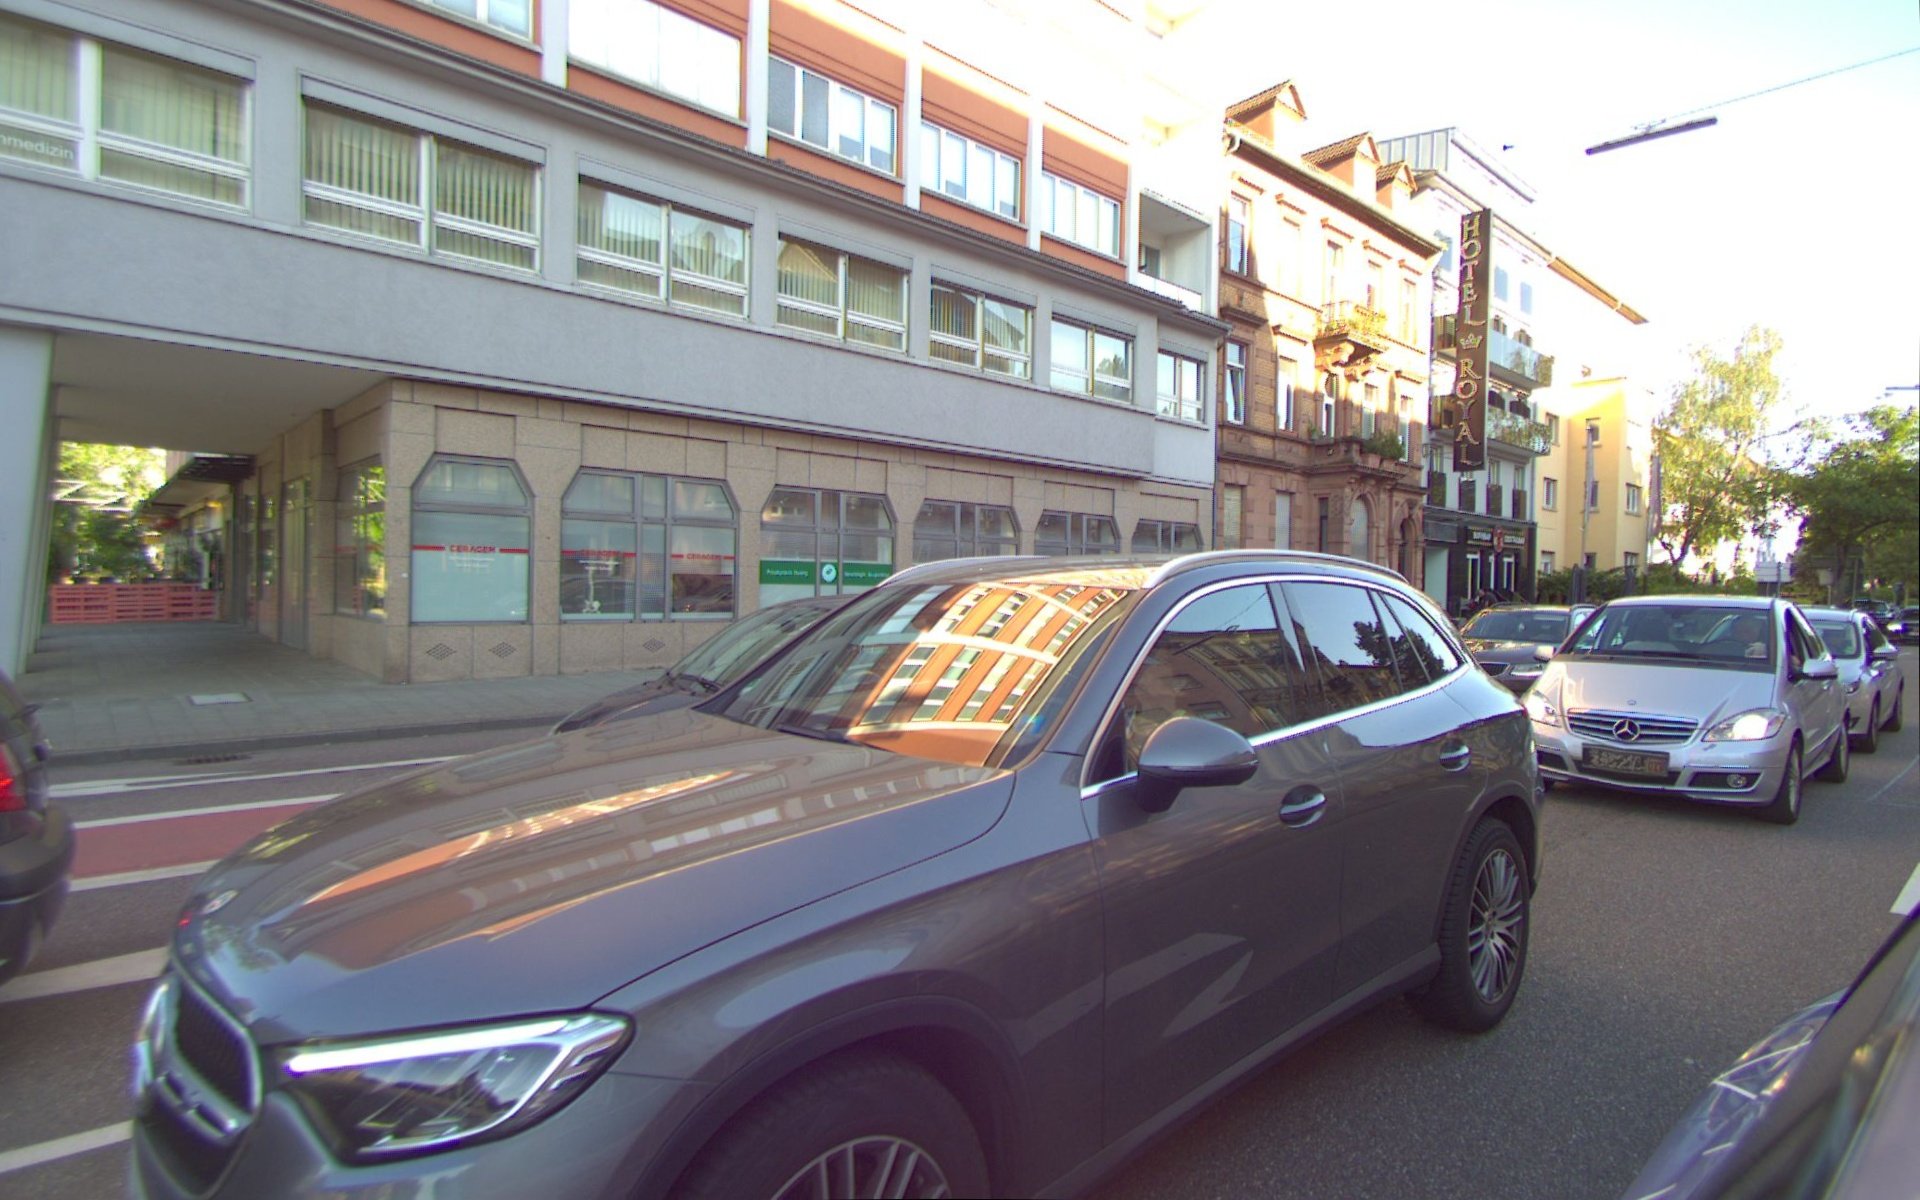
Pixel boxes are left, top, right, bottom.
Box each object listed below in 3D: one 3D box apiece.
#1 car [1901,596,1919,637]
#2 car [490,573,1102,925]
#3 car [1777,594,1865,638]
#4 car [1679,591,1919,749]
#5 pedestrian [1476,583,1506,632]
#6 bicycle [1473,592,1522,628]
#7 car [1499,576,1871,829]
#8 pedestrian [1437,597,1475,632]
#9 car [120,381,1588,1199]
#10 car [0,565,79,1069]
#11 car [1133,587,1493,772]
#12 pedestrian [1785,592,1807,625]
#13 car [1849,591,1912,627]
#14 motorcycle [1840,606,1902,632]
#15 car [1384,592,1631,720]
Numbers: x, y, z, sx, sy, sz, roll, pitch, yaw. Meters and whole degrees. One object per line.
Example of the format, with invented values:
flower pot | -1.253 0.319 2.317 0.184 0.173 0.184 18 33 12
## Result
car | 38.323 0.660 39.581 3.933 1.553 1.996 0 1 -44
car | -0.810 0.637 6.145 3.420 1.524 1.491 0 1 -43
car | 33.912 0.589 39.808 4.749 1.531 1.860 0 3 -41
car | 10.040 0.681 11.900 4.235 1.529 1.710 0 0 -42
pedestrian | 18.422 0.240 35.091 0.681 1.664 0.708 1 1 -42
bicycle | 18.647 0.341 35.122 1.415 1.124 0.483 5 2 31
car | 6.074 0.643 8.341 3.557 1.588 1.806 0 1 -43
pedestrian | 15.337 0.435 31.282 0.928 1.056 0.692 1 1 -39
car | 0.267 0.587 3.186 4.402 1.653 1.786 0 1 -43
car | -4.516 0.626 2.445 3.585 1.465 1.587 0 0 -42
car | 3.717 0.646 10.249 4.166 1.503 1.653 0 0 -42
pedestrian | 42.097 0.414 50.975 0.570 1.636 0.747 1 1 -43
car | 45.719 0.426 50.234 4.715 1.675 1.950 0 1 -43
motorcycle | 39.764 0.815 44.200 1.921 1.084 0.809 2 1 37
car | 7.647 0.662 13.964 4.087 1.475 1.710 0 1 -42
